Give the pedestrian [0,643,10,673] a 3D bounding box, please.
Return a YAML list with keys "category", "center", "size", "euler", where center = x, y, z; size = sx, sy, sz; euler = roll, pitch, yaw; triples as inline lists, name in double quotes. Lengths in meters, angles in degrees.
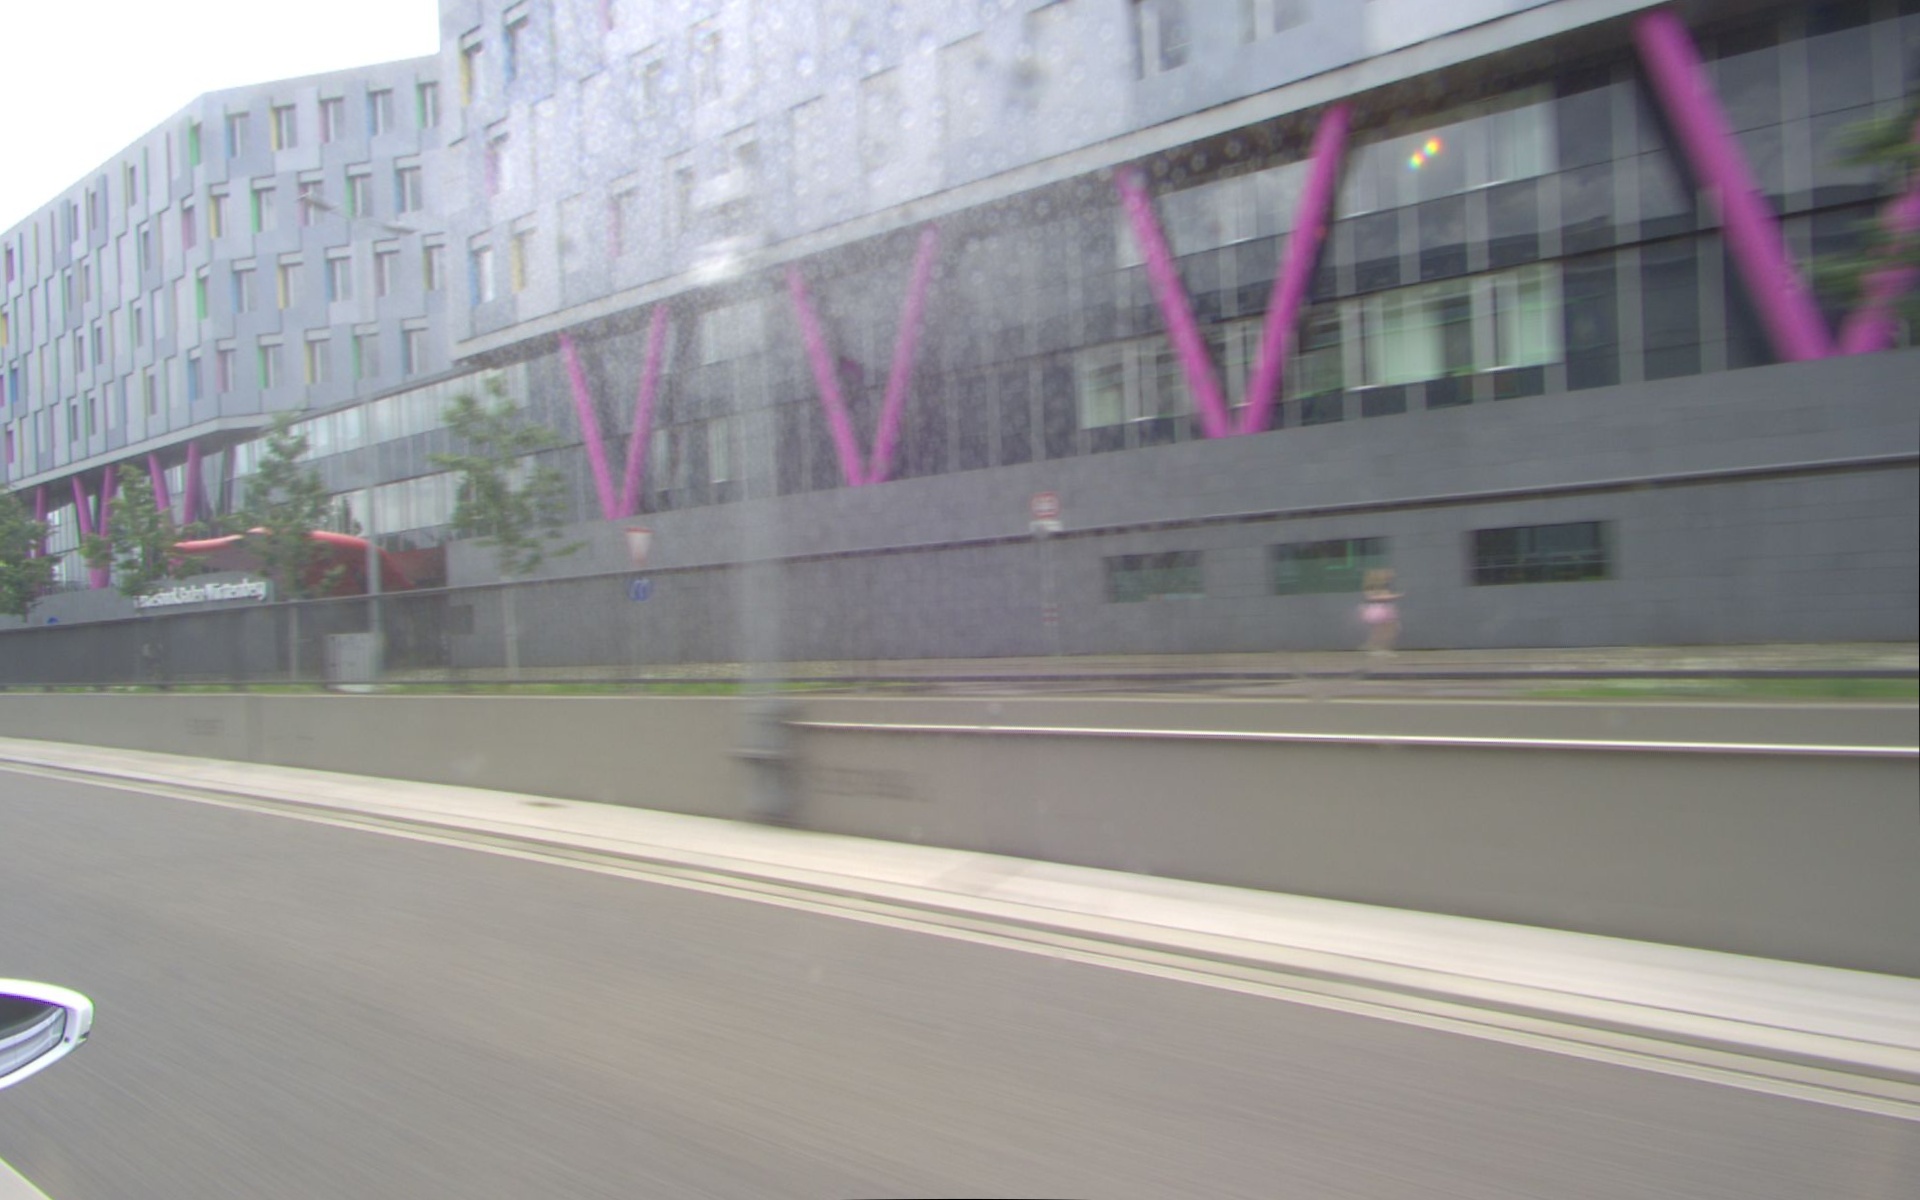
- category: "pedestrian"
  center: [-58.762, 3.547, 61.006]
  size: [1.121, 1.793, 1.049]
  euler: [-2, 0, 33]
